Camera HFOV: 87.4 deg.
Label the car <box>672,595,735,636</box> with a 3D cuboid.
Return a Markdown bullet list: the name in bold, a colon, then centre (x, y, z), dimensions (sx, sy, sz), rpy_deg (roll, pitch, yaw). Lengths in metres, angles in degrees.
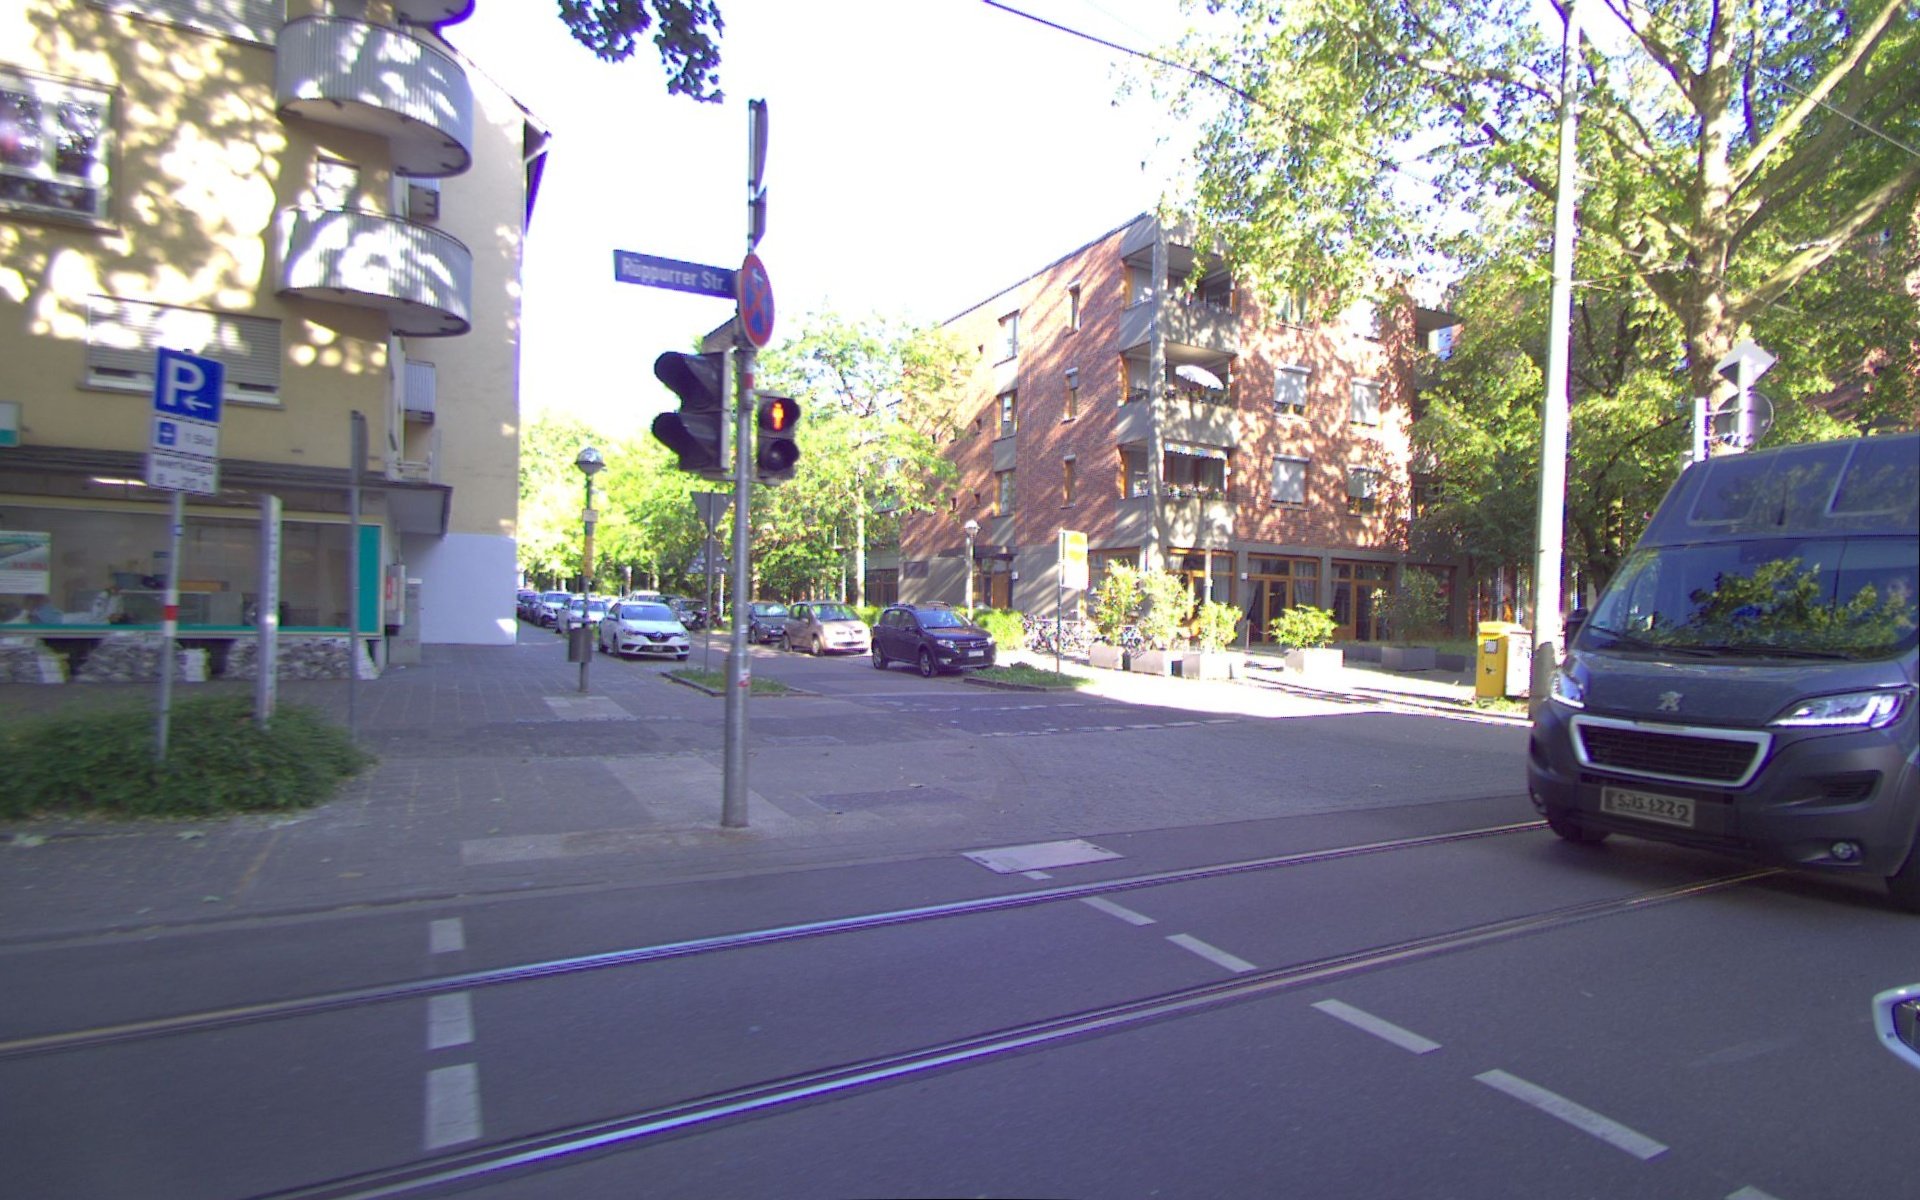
- **car**: centre (-11.579, 0.678, 45.198), dimensions (1.815, 1.639, 3.970), rpy_deg (2, 0, -28)

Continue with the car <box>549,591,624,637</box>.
- **car**: centre (-13.509, 0.488, 36.216), dimensions (1.976, 1.477, 3.970), rpy_deg (2, 0, -28)

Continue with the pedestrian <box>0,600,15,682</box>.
- **pedestrian**: centre (-12.958, 0.532, 13.151), dimensions (0.703, 1.061, 0.575), rpy_deg (2, 1, -29)

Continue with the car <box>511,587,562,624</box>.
- **car**: centre (-21.408, 0.241, 50.731), dimensions (1.976, 1.706, 3.970), rpy_deg (2, 0, -28)

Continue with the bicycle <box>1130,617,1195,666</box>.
- **bicycle**: centre (4.952, 0.998, 24.532), dimensions (1.619, 1.099, 0.539), rpy_deg (-1, 2, -30)

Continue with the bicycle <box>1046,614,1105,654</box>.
- **bicycle**: centre (3.241, 0.940, 28.152), dimensions (1.619, 1.099, 0.539), rpy_deg (0, 1, -30)

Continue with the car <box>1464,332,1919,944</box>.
- **car**: centre (6.376, 0.269, 6.933), dimensions (6.039, 2.774, 2.105), rpy_deg (2, -1, -28)

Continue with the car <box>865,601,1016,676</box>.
- **car**: centre (-0.558, 0.856, 23.831), dimensions (1.976, 1.528, 3.970), rpy_deg (2, 0, -28)

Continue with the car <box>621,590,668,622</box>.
- **car**: centre (-18.079, 0.321, 57.438), dimensions (1.801, 1.728, 3.970), rpy_deg (2, 0, -28)

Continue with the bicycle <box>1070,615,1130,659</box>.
- **bicycle**: centre (3.799, 0.985, 27.275), dimensions (1.619, 1.099, 0.539), rpy_deg (-1, 2, -30)

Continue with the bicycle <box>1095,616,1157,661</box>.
- **bicycle**: centre (4.310, 0.977, 26.102), dimensions (1.619, 1.099, 0.539), rpy_deg (0, 2, -30)

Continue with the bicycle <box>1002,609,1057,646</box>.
- **bicycle**: centre (2.127, 0.843, 30.692), dimensions (1.619, 1.098, 0.539), rpy_deg (2, 0, -30)

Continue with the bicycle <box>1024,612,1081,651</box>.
- **bicycle**: centre (2.712, 0.924, 29.492), dimensions (1.619, 1.098, 0.539), rpy_deg (2, 0, -30)

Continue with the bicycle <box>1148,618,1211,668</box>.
- **bicycle**: centre (5.243, 1.022, 23.979), dimensions (1.518, 1.099, 0.539), rpy_deg (-1, 2, -30)

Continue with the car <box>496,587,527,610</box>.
- **car**: centre (-36.349, -0.123, 81.337), dimensions (1.976, 1.706, 3.970), rpy_deg (2, 0, -28)

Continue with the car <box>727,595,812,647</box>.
- **car**: centre (-6.876, 0.728, 36.018), dimensions (1.845, 1.684, 3.970), rpy_deg (2, 0, -28)

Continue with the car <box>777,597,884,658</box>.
- **car**: centre (-4.032, 0.807, 30.686), dimensions (1.937, 1.684, 3.970), rpy_deg (2, 0, -28)

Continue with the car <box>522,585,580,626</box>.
- **car**: centre (-18.388, 0.232, 45.061), dimensions (1.976, 1.706, 3.970), rpy_deg (2, 0, -28)

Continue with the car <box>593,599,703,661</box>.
- **car**: centre (-8.204, 0.739, 26.191), dimensions (1.976, 1.394, 3.970), rpy_deg (2, 0, -28)

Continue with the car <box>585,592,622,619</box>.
- **car**: centre (-24.698, 0.384, 69.490), dimensions (1.801, 1.728, 3.970), rpy_deg (2, 0, -28)
